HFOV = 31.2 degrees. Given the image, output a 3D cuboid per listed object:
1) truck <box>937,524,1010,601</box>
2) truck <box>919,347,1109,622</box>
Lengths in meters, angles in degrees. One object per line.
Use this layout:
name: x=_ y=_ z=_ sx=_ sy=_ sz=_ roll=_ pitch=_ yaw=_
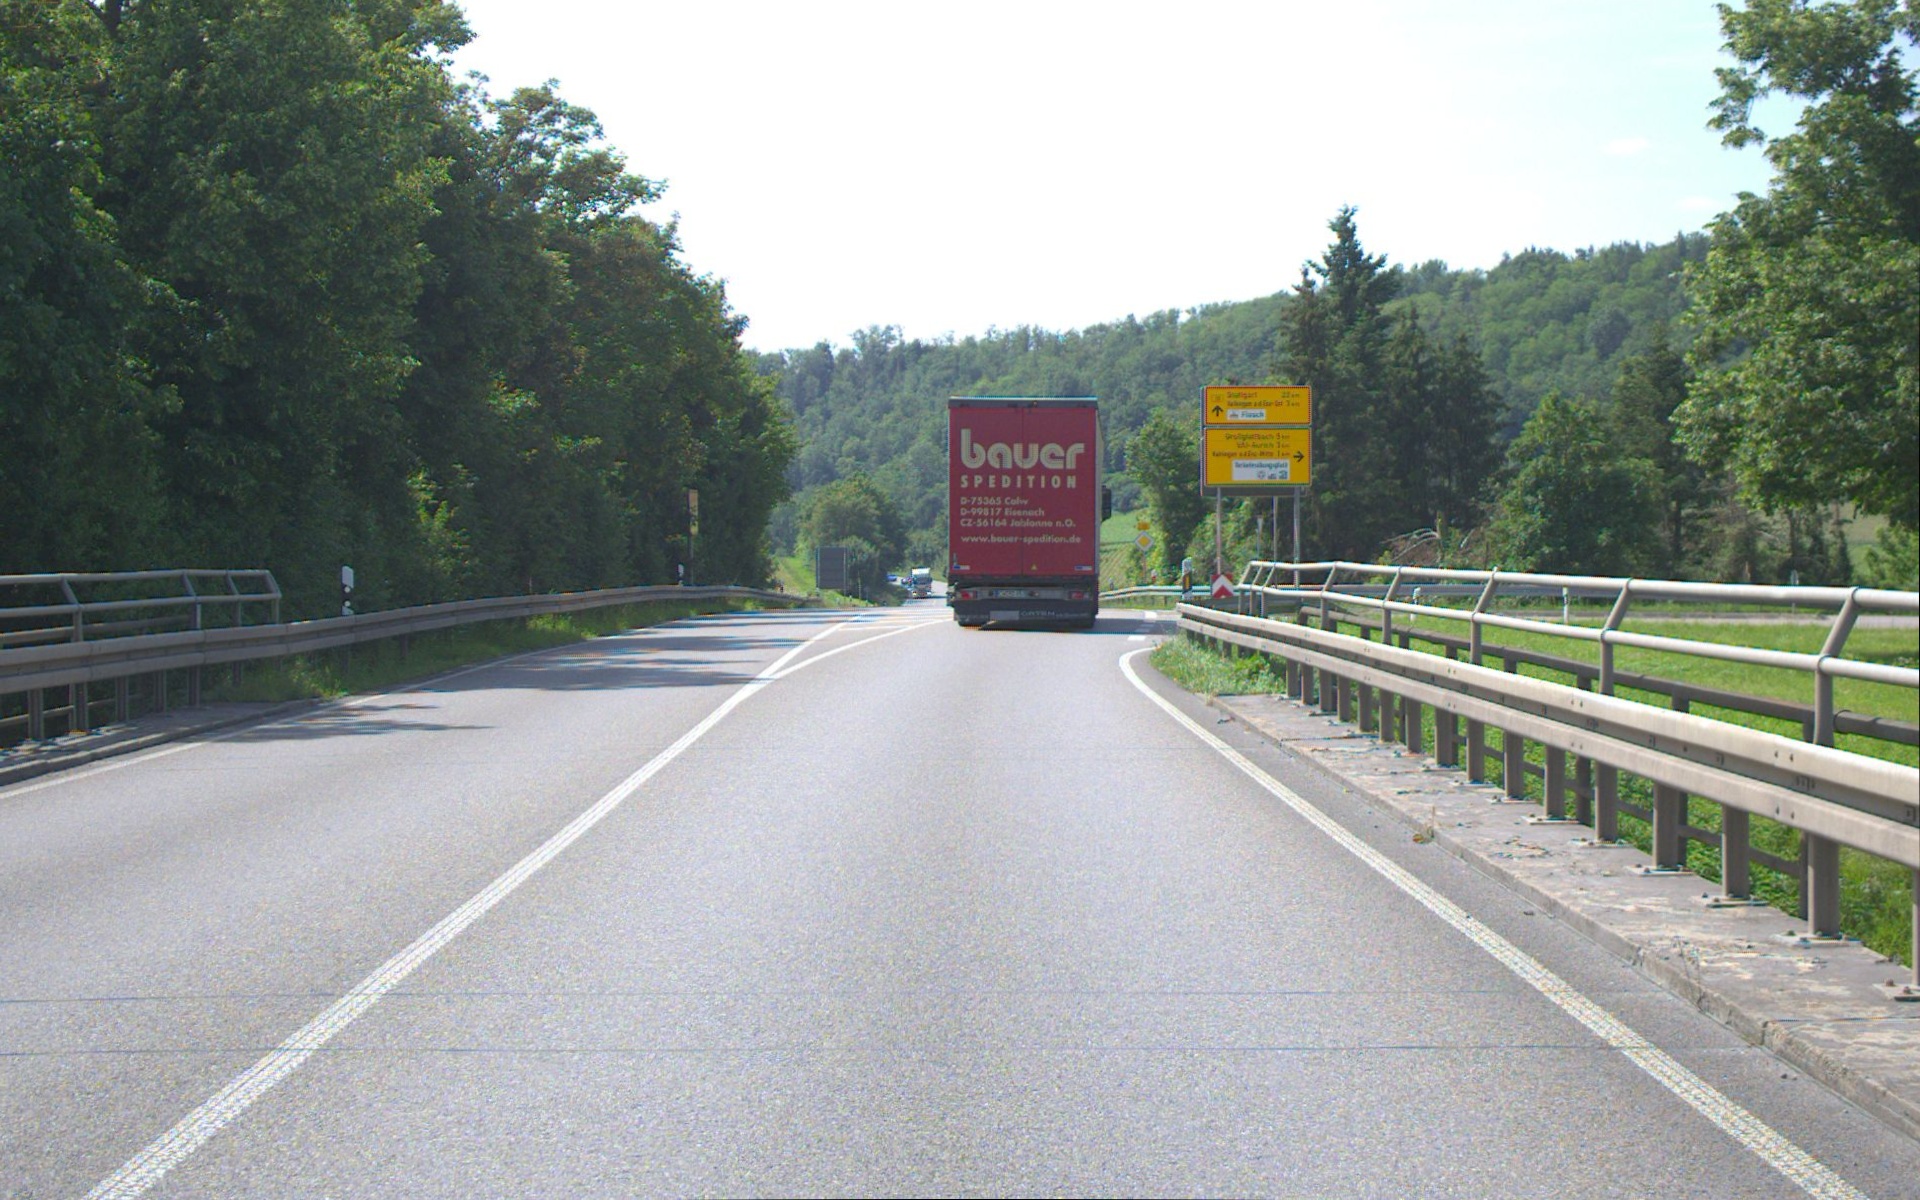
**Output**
truck: x=0.745 y=-2.239 z=211.563 sx=3.905 sy=4.355 sz=13.293 roll=3 pitch=0 yaw=-2
truck: x=1.028 y=-2.114 z=64.818 sx=3.172 sy=4.609 sz=13.544 roll=0 pitch=1 yaw=1
